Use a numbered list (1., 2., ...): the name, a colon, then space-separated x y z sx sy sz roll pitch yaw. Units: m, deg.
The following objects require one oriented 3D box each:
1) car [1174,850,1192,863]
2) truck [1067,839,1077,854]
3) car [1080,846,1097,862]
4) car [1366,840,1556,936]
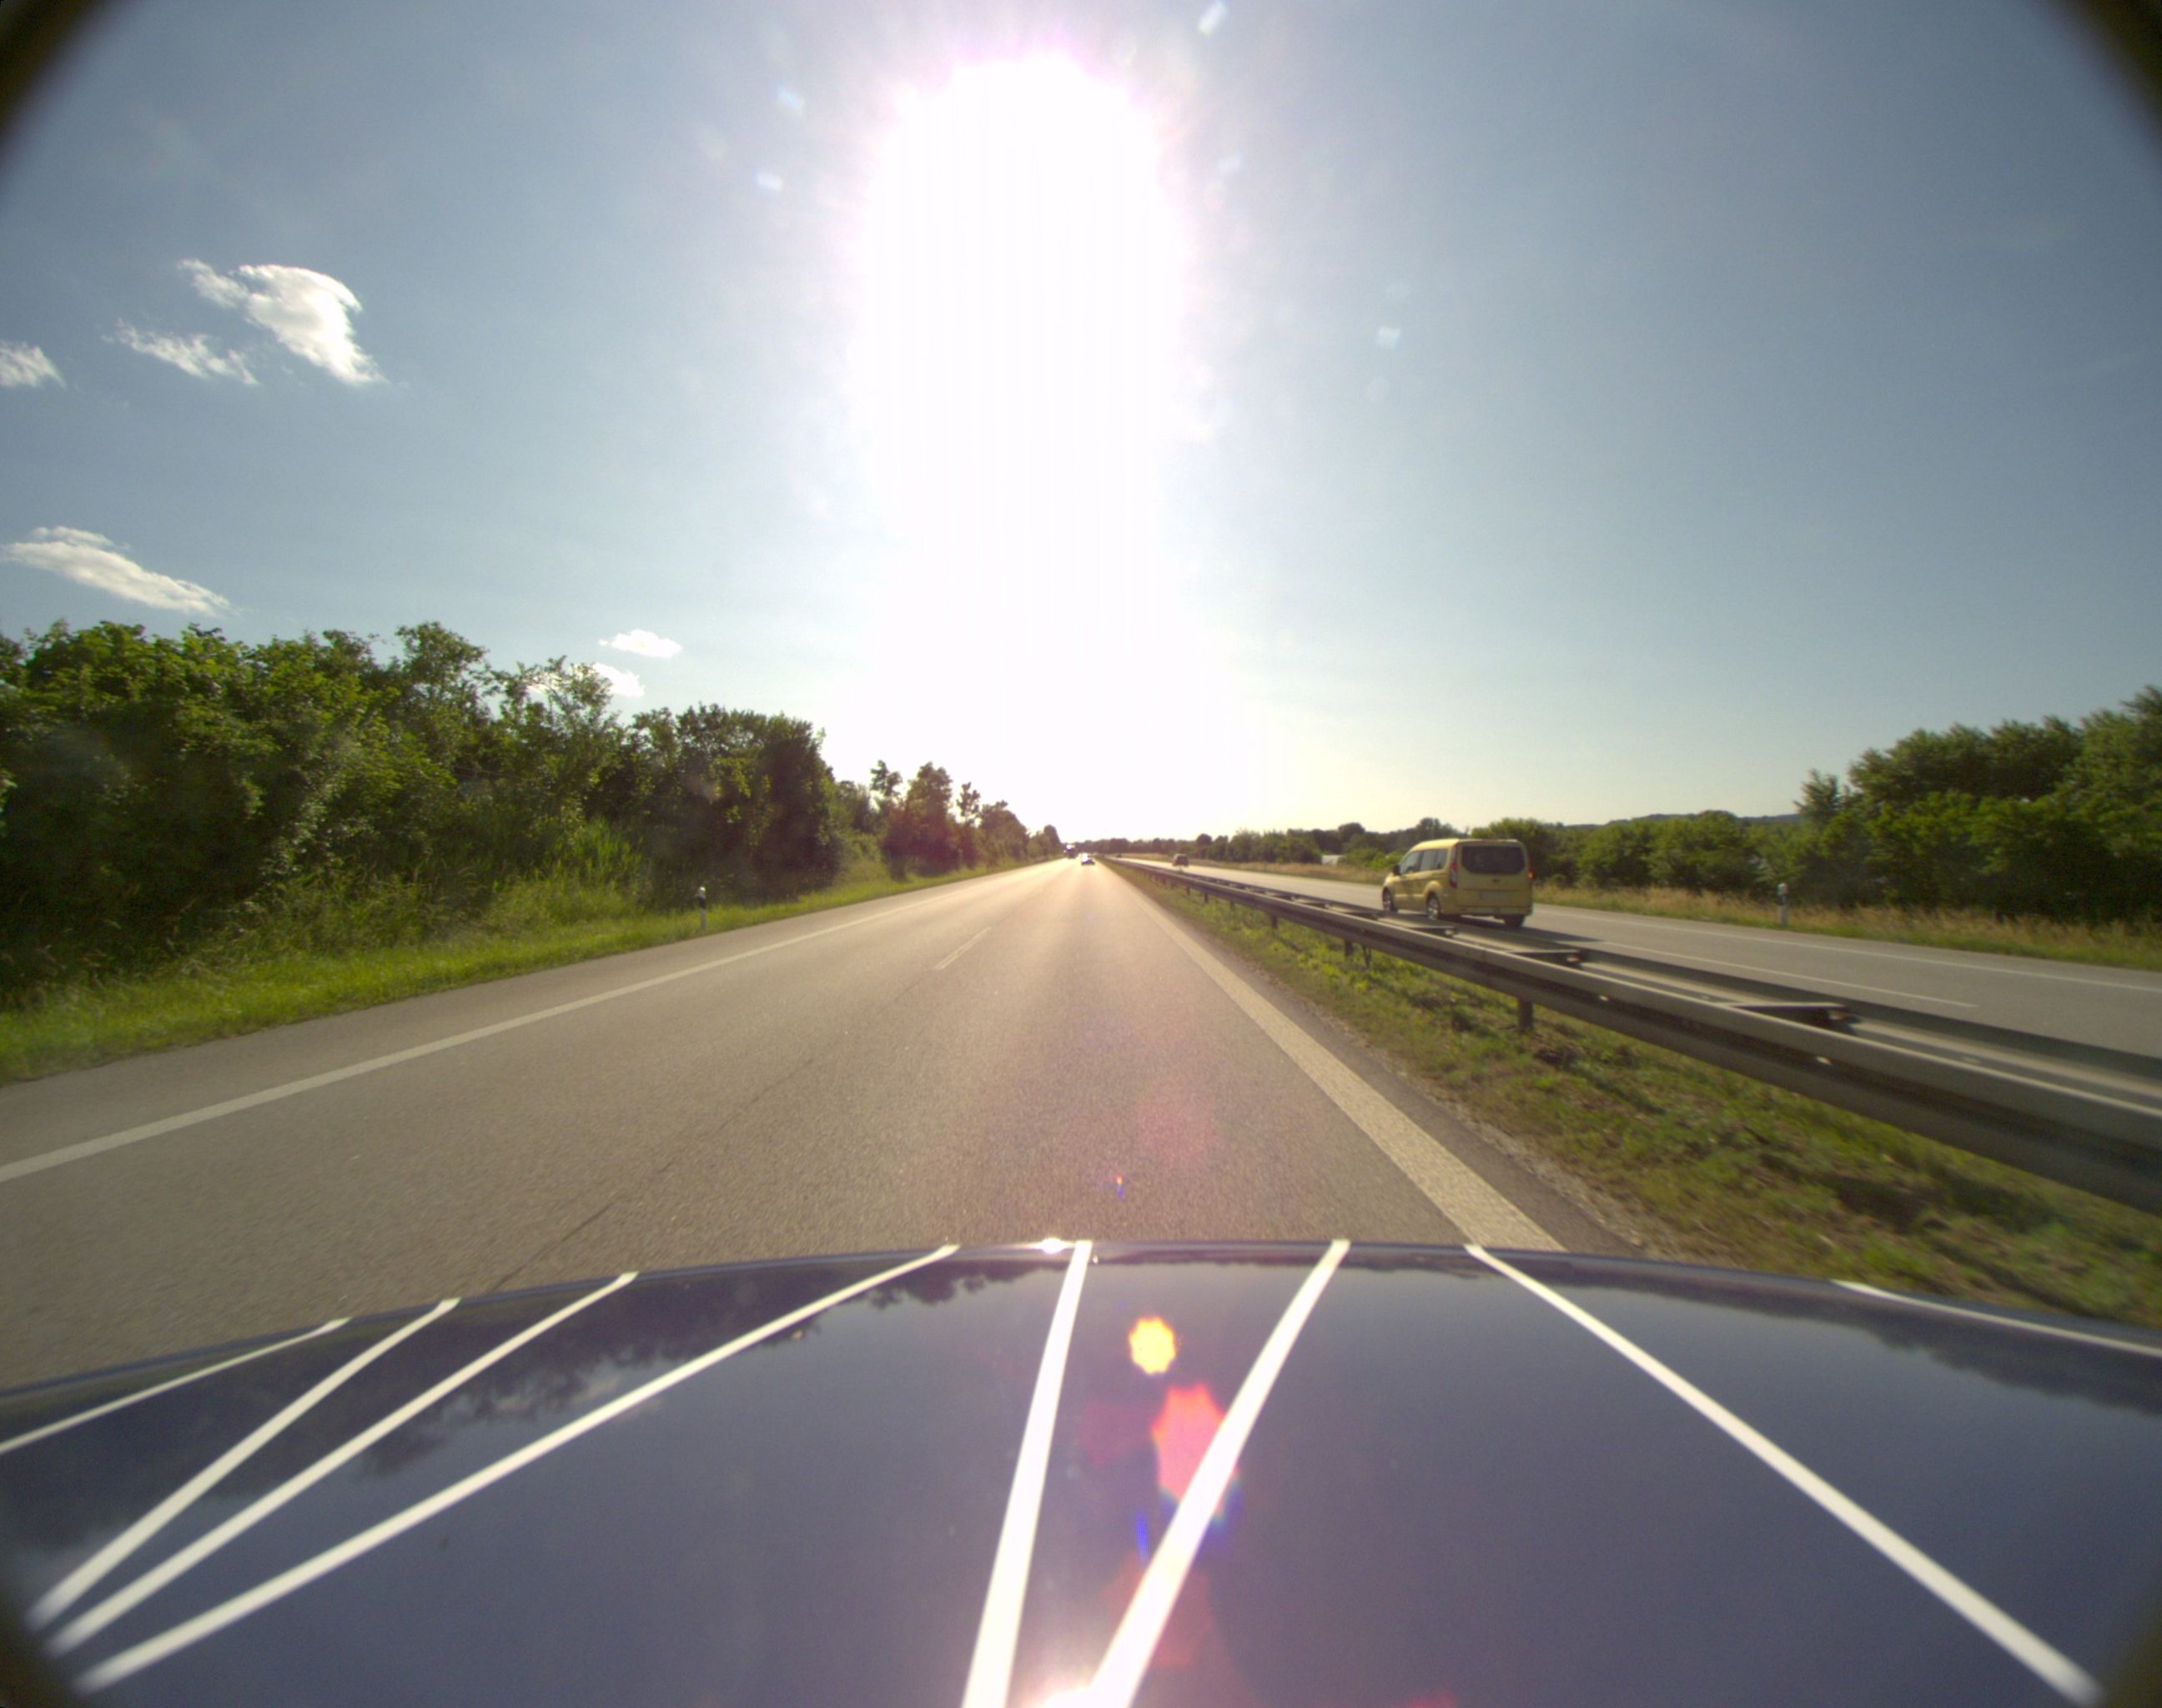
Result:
1. car: 12.178 0.247 91.108 1.734 1.502 4.479 1 1 2
2. truck: -2.629 -2.152 227.544 2.759 4.242 8.492 -2 1 0
3. car: 0.980 0.010 99.439 1.998 2.002 4.358 -2 1 1
4. car: 8.220 0.618 17.036 1.954 1.761 4.749 3 1 3
